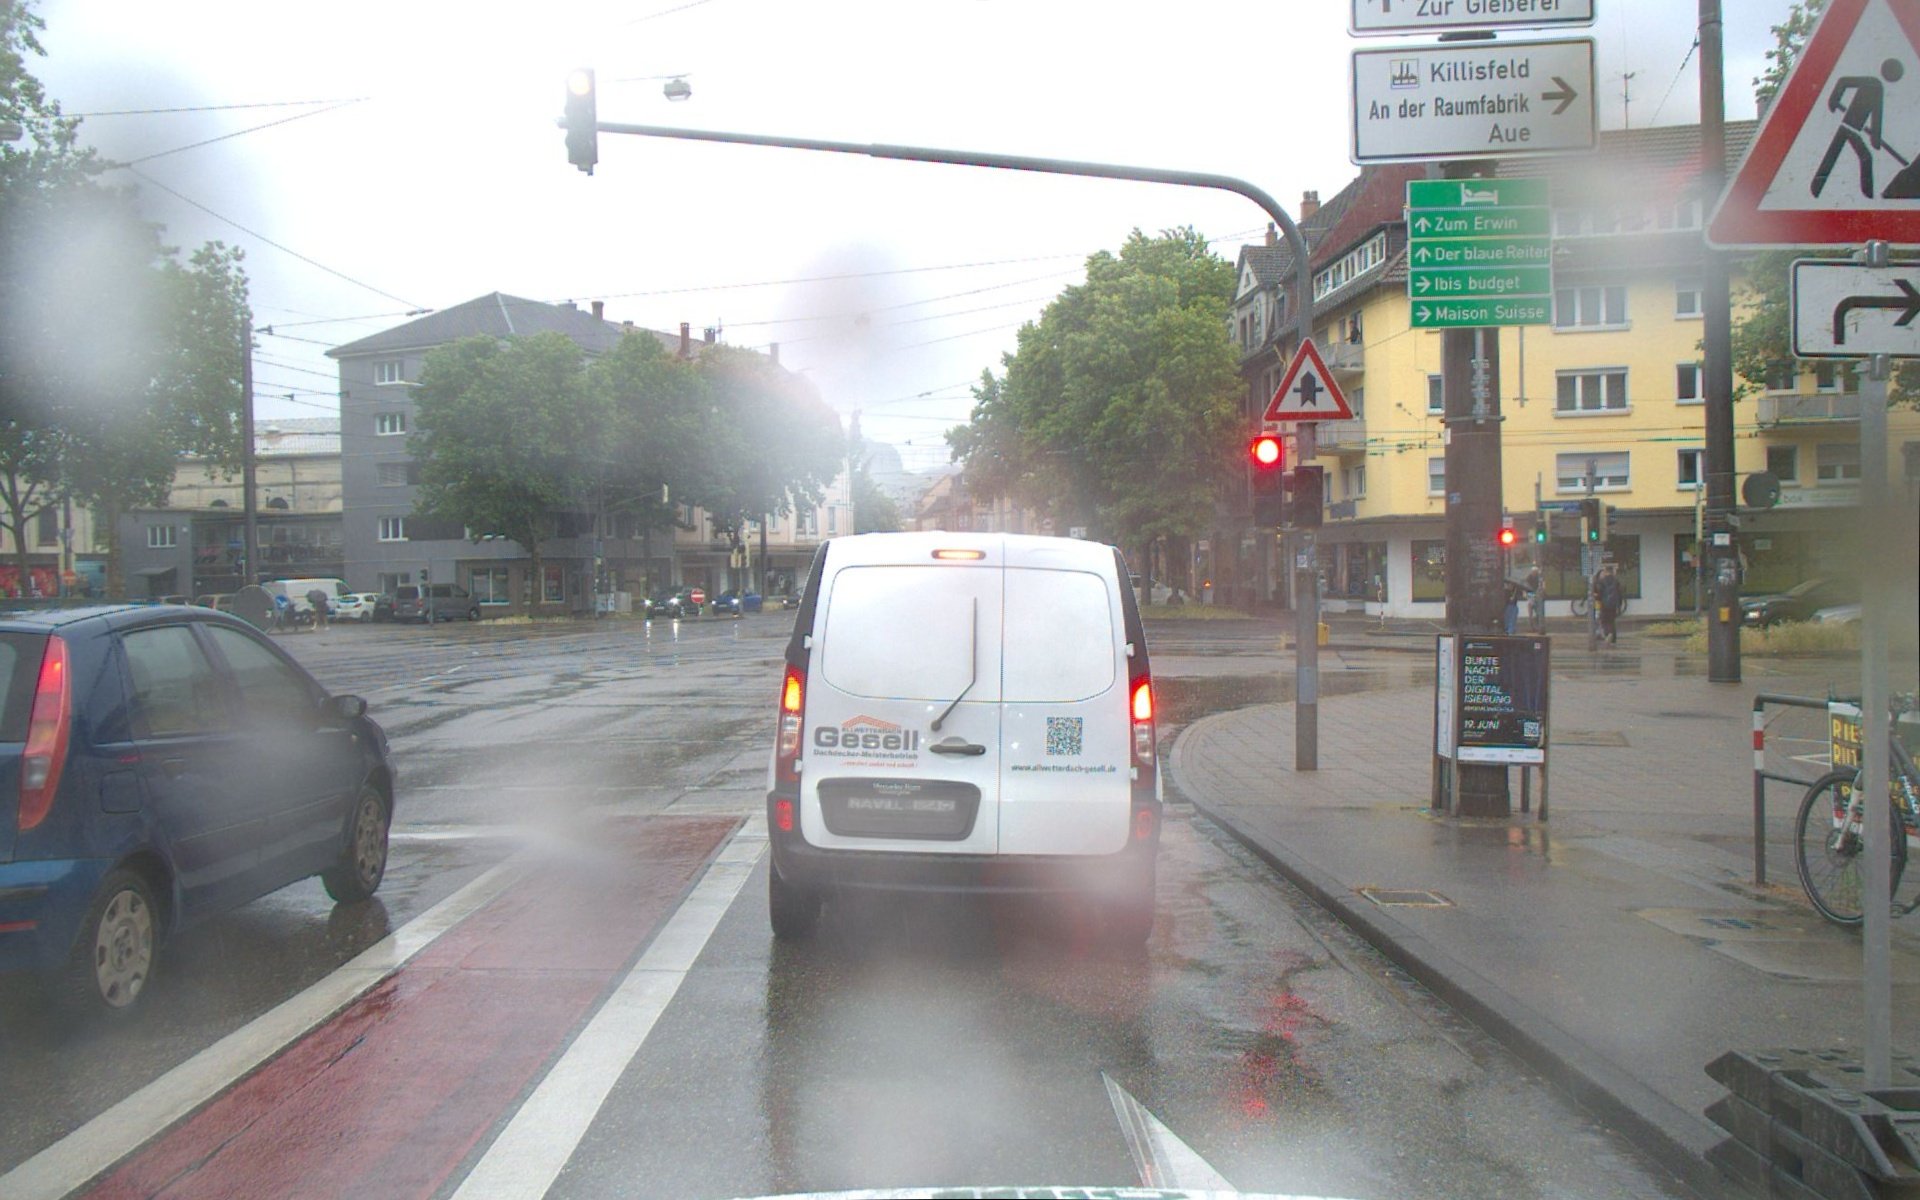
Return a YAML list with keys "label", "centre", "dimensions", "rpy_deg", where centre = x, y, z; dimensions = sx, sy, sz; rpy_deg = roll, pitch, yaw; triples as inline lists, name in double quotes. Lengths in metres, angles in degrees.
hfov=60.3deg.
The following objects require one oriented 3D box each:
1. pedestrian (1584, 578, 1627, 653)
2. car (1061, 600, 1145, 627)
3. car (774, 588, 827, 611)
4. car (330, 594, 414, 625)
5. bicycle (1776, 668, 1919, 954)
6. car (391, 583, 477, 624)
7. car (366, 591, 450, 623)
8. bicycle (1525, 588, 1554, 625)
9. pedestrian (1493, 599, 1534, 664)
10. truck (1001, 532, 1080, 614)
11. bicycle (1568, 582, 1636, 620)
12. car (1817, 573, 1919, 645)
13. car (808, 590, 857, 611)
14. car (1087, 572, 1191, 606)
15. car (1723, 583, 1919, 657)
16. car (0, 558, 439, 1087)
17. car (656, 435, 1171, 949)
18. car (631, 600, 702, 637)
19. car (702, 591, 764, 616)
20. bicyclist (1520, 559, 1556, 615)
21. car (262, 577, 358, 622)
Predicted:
- label: "pedestrian"
  centre: [14.904, 0.356, 38.165]
  dimensions: [0.886, 1.698, 1.019]
  rpy_deg: [0, 0, 23]
- label: "car"
  centre: [6.134, 0.574, 71.095]
  dimensions: [3.378, 1.150, 1.469]
  rpy_deg: [0, 0, -9]
- label: "car"
  centre: [-9.773, -0.051, 101.555]
  dimensions: [1.909, 1.261, 4.003]
  rpy_deg: [0, 2, 16]
- label: "car"
  centre: [-30.968, 0.476, 87.156]
  dimensions: [1.915, 1.522, 3.997]
  rpy_deg: [0, 2, 26]
- label: "bicycle"
  centre: [4.251, 0.913, 7.070]
  dimensions: [0.503, 1.126, 2.017]
  rpy_deg: [3, 0, 1]
- label: "car"
  centre: [-26.789, 0.167, 84.286]
  dimensions: [1.954, 2.049, 3.996]
  rpy_deg: [0, 0, 26]
- label: "car"
  centre: [-28.742, 0.355, 86.249]
  dimensions: [1.954, 1.556, 3.997]
  rpy_deg: [0, 2, 26]
- label: "bicycle"
  centre: [16.414, 0.182, 46.837]
  dimensions: [0.644, 1.045, 2.023]
  rpy_deg: [0, 0, 23]
- label: "pedestrian"
  centre: [13.593, 0.762, 40.634]
  dimensions: [0.809, 1.561, 0.614]
  rpy_deg: [1, 0, -39]
- label: "truck"
  centre: [5.656, -1.727, 112.402]
  dimensions: [3.395, 5.176, 15.320]
  rpy_deg: [0, 0, 10]
- label: "bicycle"
  centre: [21.558, 0.028, 55.577]
  dimensions: [2.056, 1.283, 0.532]
  rpy_deg: [0, 1, 14]
- label: "car"
  centre: [21.003, 0.181, 35.987]
  dimensions: [3.854, 1.516, 1.808]
  rpy_deg: [0, 1, 15]
- label: "car"
  centre: [-8.269, 0.047, 107.910]
  dimensions: [1.909, 1.261, 4.003]
  rpy_deg: [0, 2, 16]
- label: "car"
  centre: [7.467, -0.477, 69.050]
  dimensions: [4.088, 1.362, 1.518]
  rpy_deg: [0, 1, -8]
- label: "car"
  centre: [20.864, 0.483, 39.059]
  dimensions: [4.832, 1.672, 2.001]
  rpy_deg: [0, -2, 11]
- label: "car"
  centre: [-3.611, 0.668, 6.914]
  dimensions: [1.692, 1.606, 3.820]
  rpy_deg: [0, 0, -1]
- label: "car"
  centre: [-0.221, 0.373, 9.106]
  dimensions: [2.058, 2.047, 4.962]
  rpy_deg: [0, 0, -1]
- label: "car"
  centre: [-14.559, 0.896, 82.113]
  dimensions: [1.909, 1.635, 4.003]
  rpy_deg: [0, 2, 16]
- label: "car"
  centre: [-12.483, 0.195, 91.091]
  dimensions: [1.909, 1.261, 4.003]
  rpy_deg: [0, 2, 16]
- label: "bicyclist"
  centre: [16.372, -0.358, 46.853]
  dimensions: [0.914, 1.574, 1.069]
  rpy_deg: [0, 0, 22]
- label: "car"
  centre: [-34.129, -0.064, 86.959]
  dimensions: [1.953, 2.236, 4.787]
  rpy_deg: [1, 2, 22]
